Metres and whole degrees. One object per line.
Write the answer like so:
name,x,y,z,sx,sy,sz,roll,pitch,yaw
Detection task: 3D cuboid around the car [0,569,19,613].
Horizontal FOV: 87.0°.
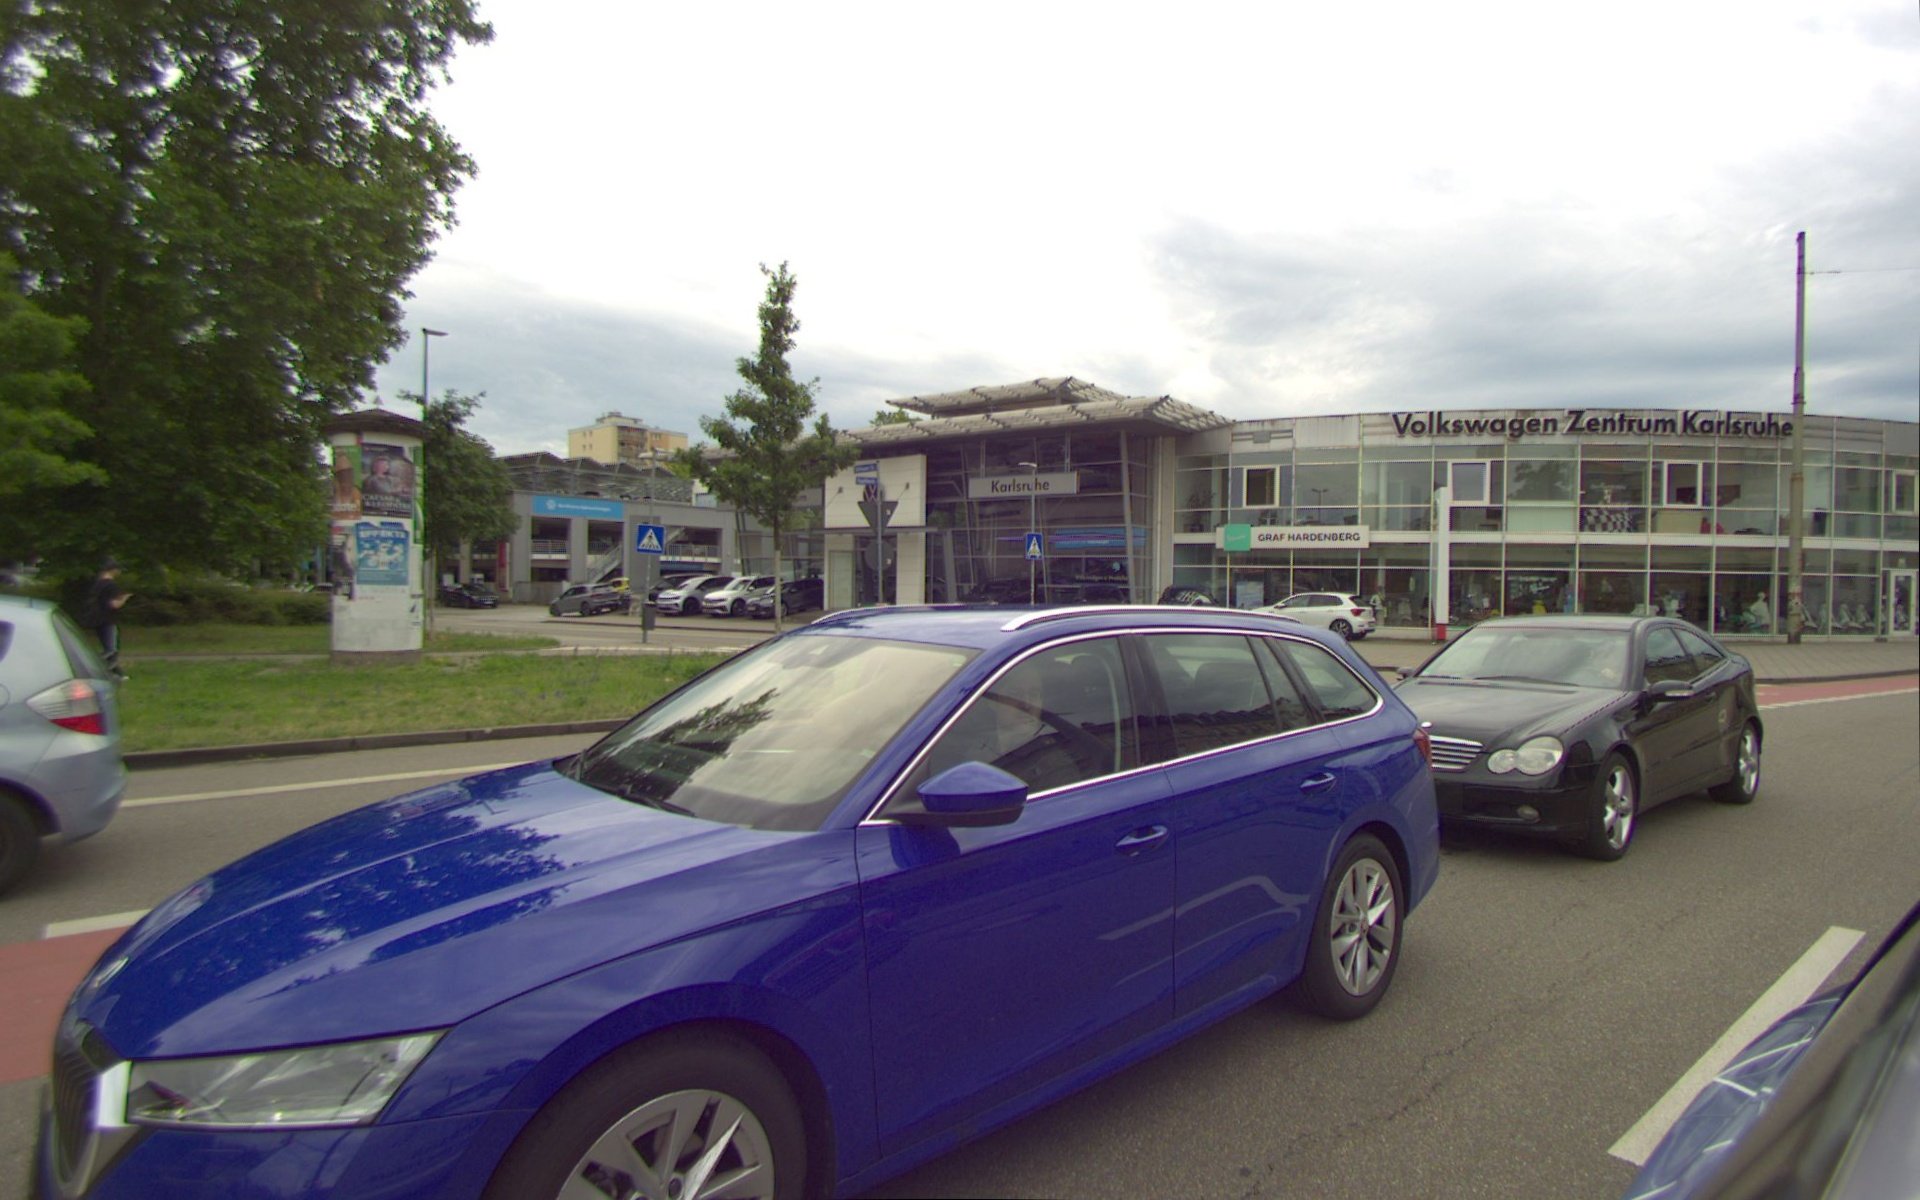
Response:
car,-36.505,-0.332,36.332,4.408,1.567,1.854,1,1,13

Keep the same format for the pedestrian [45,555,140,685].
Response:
pedestrian,-12.967,0.279,15.151,0.527,1.867,0.985,1,1,6

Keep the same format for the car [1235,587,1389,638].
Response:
car,11.008,0.358,31.792,4.243,1.471,1.757,1,1,40

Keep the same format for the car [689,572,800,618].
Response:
car,-9.405,-0.274,44.594,1.850,1.719,4.716,0,4,36

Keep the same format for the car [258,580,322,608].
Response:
car,-41.725,-0.414,62.973,4.446,1.643,1.838,2,2,35

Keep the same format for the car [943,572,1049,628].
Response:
car,1.362,-0.051,35.873,1.846,1.652,4.464,0,4,31

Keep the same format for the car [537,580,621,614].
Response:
car,-18.643,-0.163,49.495,3.988,1.583,1.896,0,2,35

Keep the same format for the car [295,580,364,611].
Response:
car,-37.069,-0.287,59.500,4.446,1.643,1.838,2,2,35

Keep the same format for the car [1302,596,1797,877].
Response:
car,4.340,0.706,7.212,3.996,1.439,1.714,0,1,-39

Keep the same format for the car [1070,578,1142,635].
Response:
car,4.704,0.157,33.125,1.824,1.522,4.340,0,4,2

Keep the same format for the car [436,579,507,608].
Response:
car,-28.992,-0.402,60.047,4.446,1.567,1.876,2,2,35

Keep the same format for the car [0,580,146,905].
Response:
car,-6.115,0.649,4.344,4.027,1.485,1.752,0,1,-41

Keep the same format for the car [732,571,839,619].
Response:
car,-7.322,-0.249,42.849,1.886,1.717,4.421,0,4,36

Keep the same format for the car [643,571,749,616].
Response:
car,-11.985,-0.330,46.189,1.859,1.719,4.419,0,4,37

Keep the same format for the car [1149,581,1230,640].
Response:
car,7.352,0.279,32.744,1.867,1.581,4.219,1,3,4

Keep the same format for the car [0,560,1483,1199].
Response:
car,-0.119,0.660,3.352,4.387,1.507,1.783,-1,2,-41
